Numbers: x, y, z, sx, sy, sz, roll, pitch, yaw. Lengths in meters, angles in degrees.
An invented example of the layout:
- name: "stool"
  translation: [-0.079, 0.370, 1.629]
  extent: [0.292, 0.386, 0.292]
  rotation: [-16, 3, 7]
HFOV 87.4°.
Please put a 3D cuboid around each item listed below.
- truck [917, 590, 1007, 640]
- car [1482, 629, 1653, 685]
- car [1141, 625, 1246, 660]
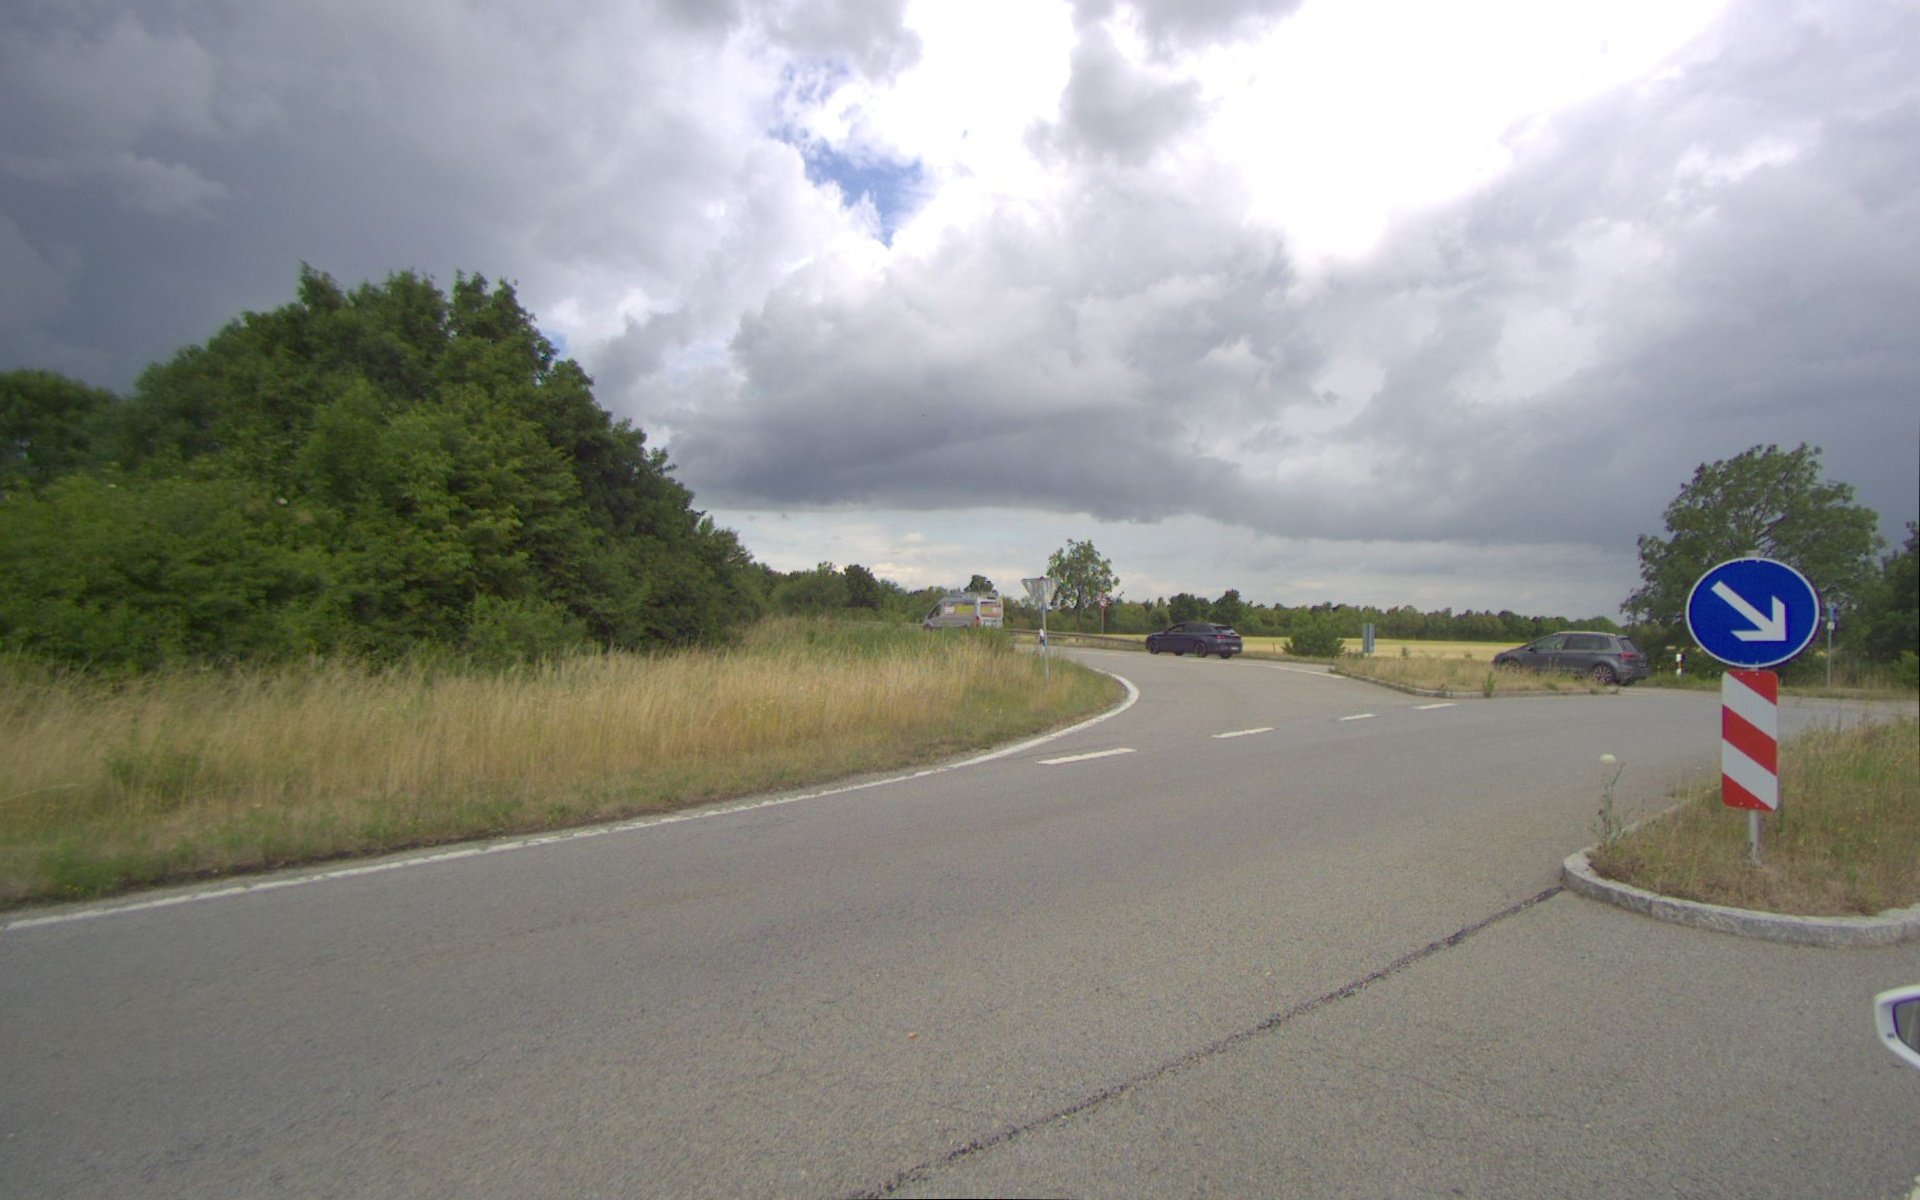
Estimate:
- name: "truck"
  translation: [0.043, 0.871, 57.905]
  extent: [2.047, 2.739, 5.982]
  rotation: [1, -1, -36]
- name: "car"
  translation: [18.982, 1.735, 31.532]
  extent: [1.982, 1.622, 4.178]
  rotation: [1, -2, -38]
- name: "car"
  translation: [9.742, 1.742, 42.199]
  extent: [1.666, 1.362, 4.311]
  rotation: [1, -1, -36]
